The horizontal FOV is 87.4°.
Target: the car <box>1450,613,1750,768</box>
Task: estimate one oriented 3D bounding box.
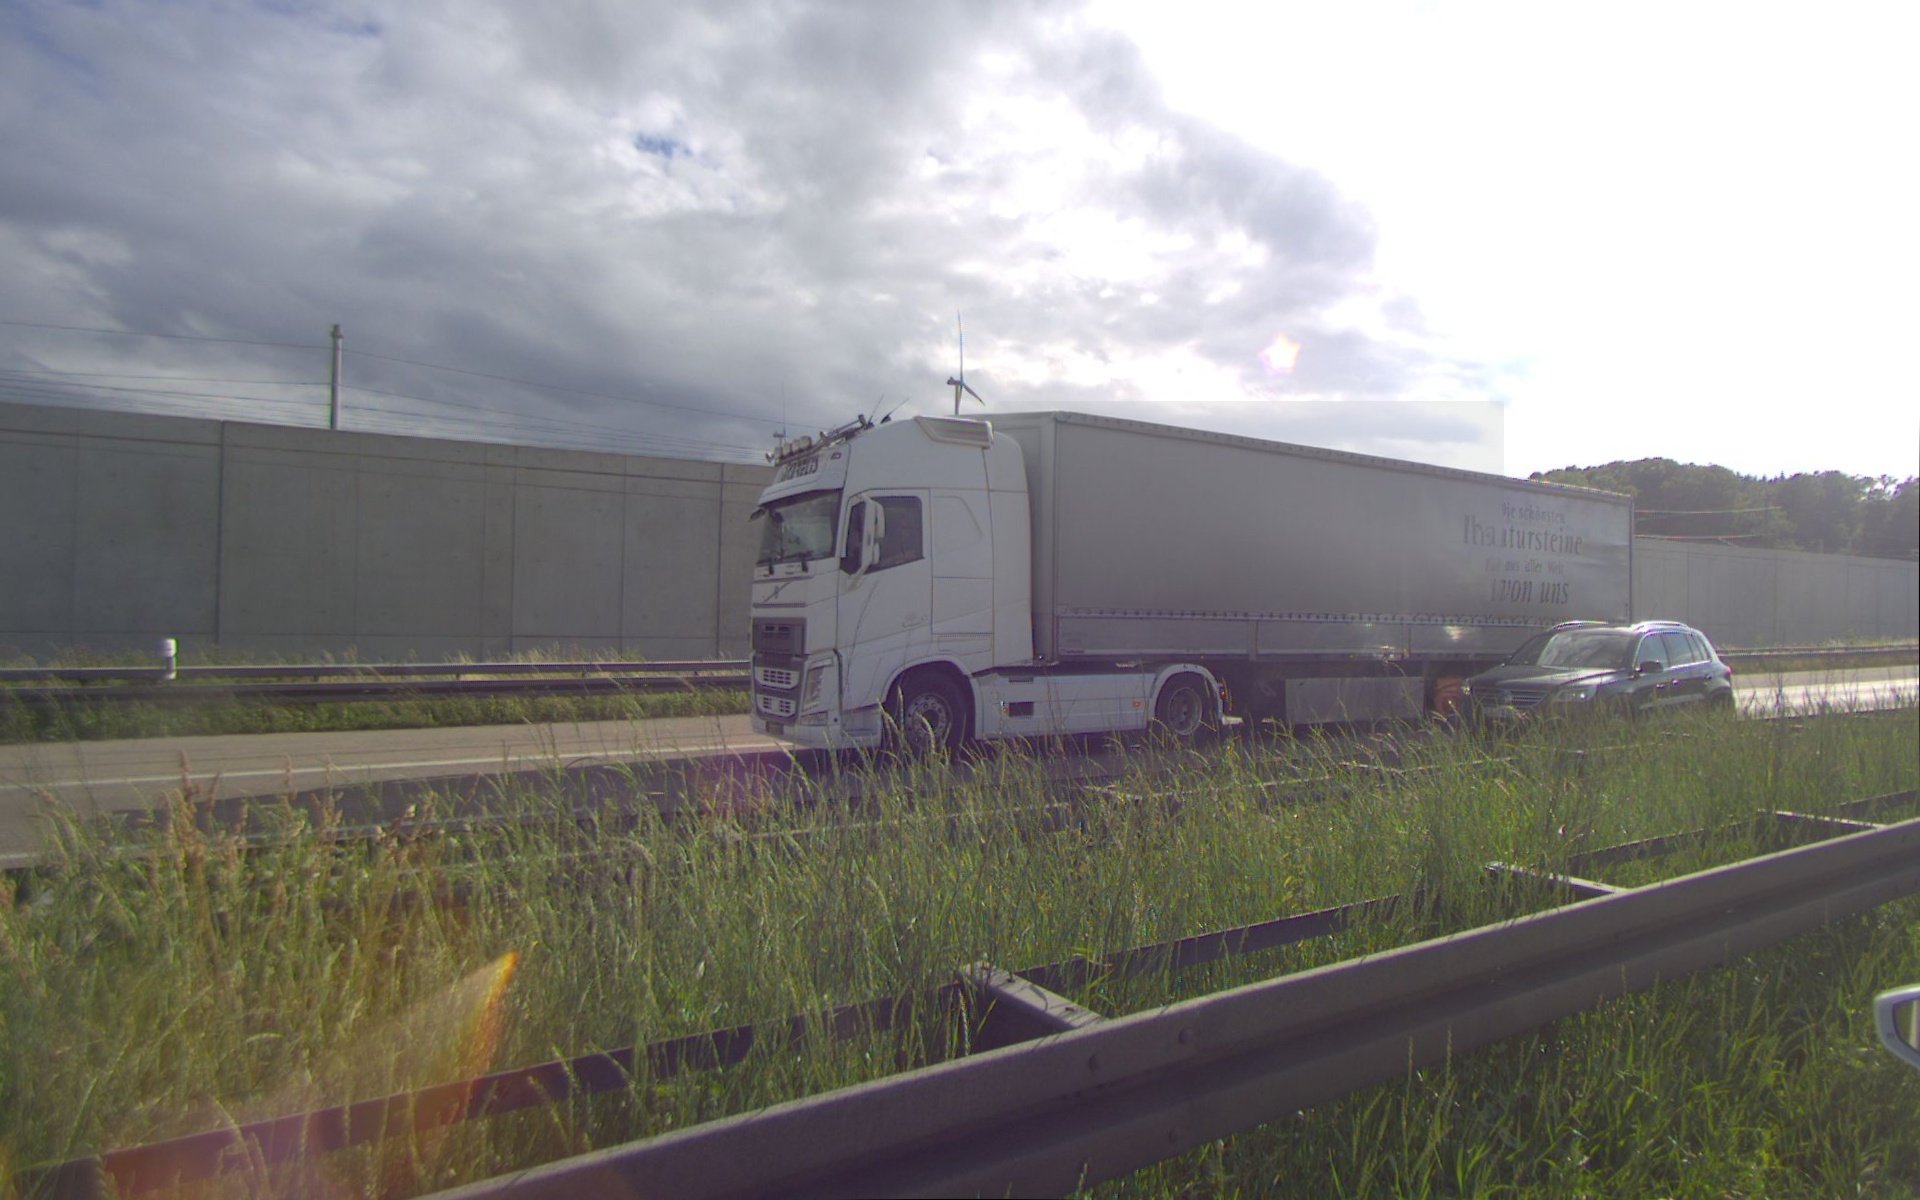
[{"bbox_3d":[8.439,1.091,13.154,4.127,1.728,1.699,2,-1,-32],"label":"car"}]

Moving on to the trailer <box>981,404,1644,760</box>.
[{"bbox_3d":[6.514,-0.014,16.332,13.051,4.237,2.378,2,-2,-31],"label":"trailer"}]

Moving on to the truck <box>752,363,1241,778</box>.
[{"bbox_3d":[0.596,-0.207,12.785,5.864,4.236,2.368,2,-2,-31],"label":"truck"}]
